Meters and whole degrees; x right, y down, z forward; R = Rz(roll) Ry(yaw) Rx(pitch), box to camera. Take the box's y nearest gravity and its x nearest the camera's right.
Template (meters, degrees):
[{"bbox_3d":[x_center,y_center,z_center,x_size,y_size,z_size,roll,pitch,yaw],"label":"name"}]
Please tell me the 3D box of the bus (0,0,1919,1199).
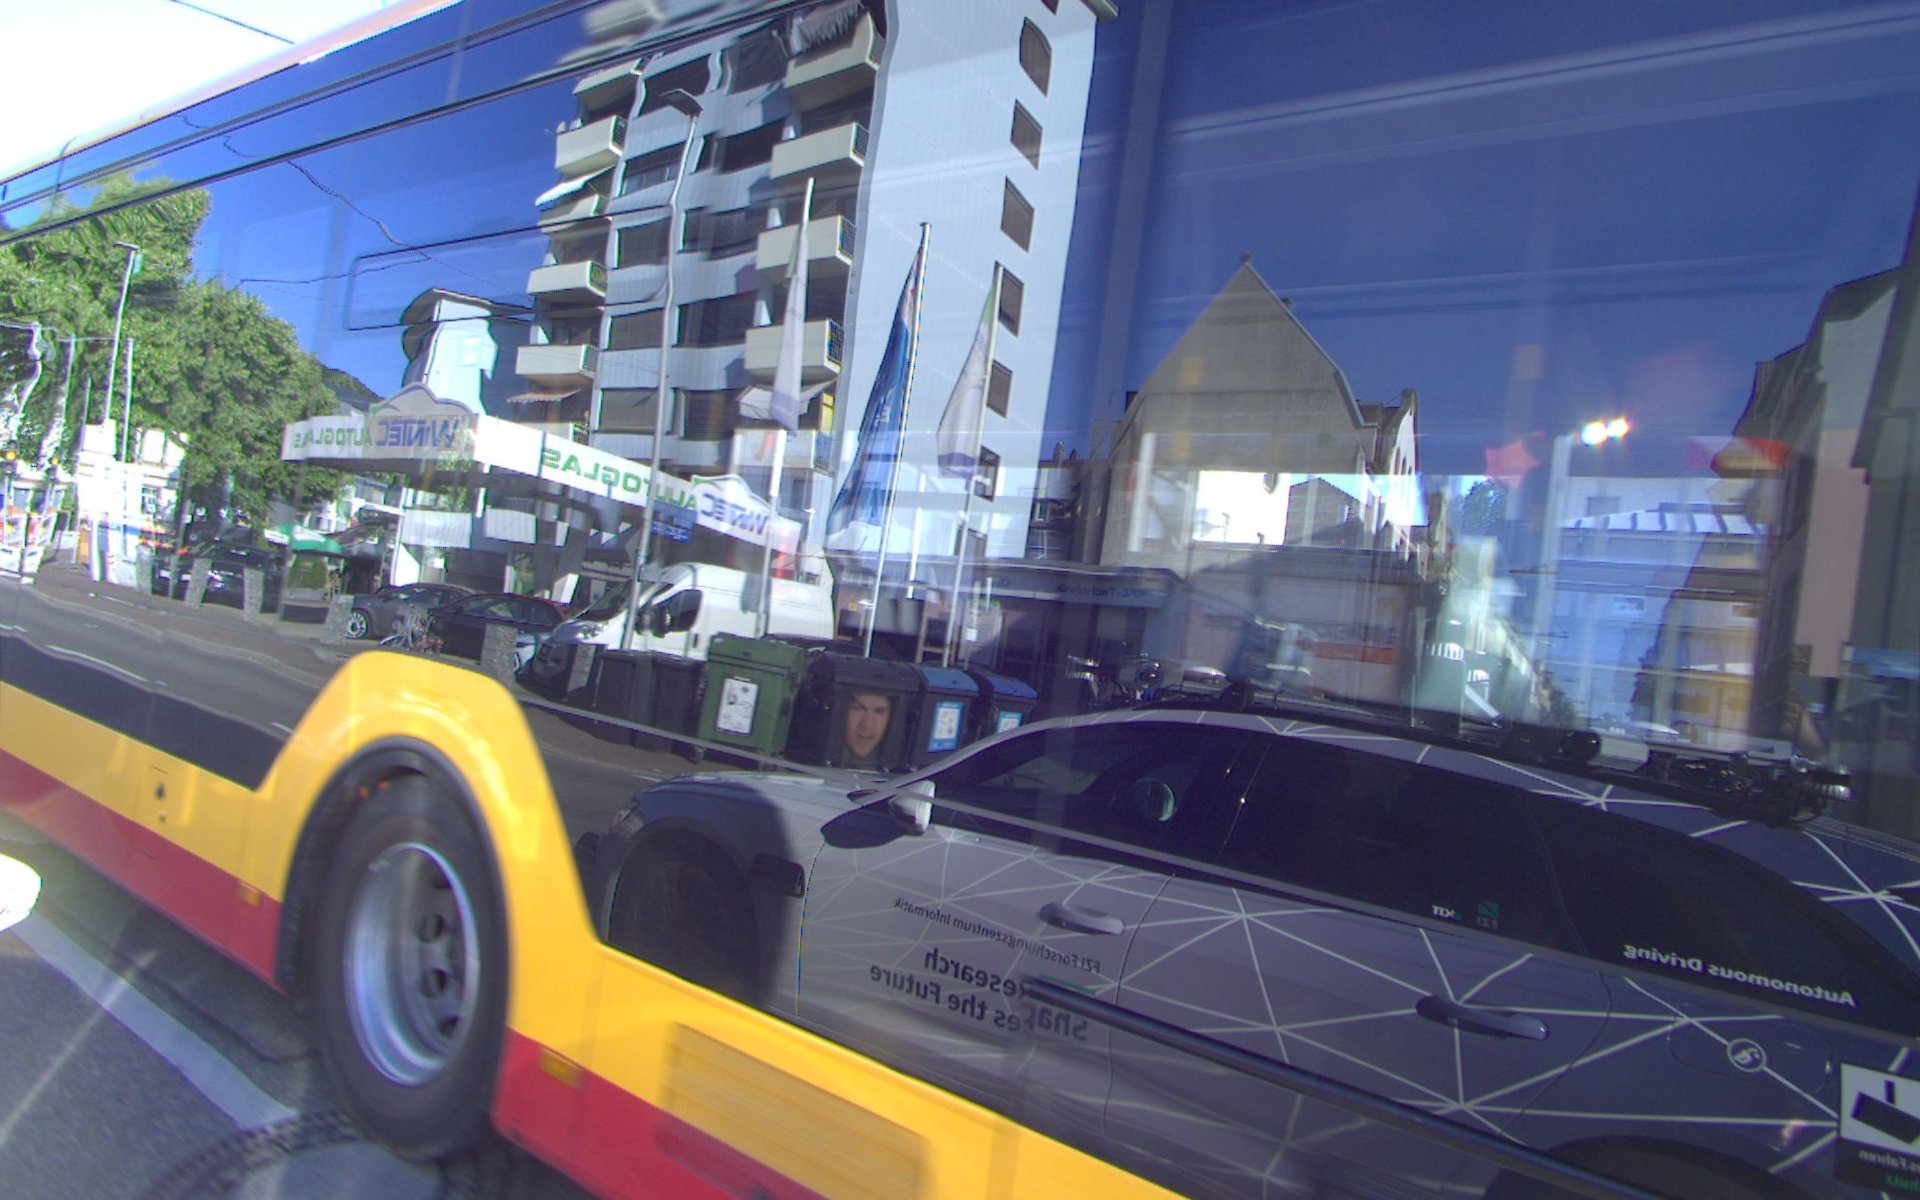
[{"bbox_3d":[-2.741,-0.455,4.995,11.822,3.456,2.693,7,-2,33],"label":"bus"}]
